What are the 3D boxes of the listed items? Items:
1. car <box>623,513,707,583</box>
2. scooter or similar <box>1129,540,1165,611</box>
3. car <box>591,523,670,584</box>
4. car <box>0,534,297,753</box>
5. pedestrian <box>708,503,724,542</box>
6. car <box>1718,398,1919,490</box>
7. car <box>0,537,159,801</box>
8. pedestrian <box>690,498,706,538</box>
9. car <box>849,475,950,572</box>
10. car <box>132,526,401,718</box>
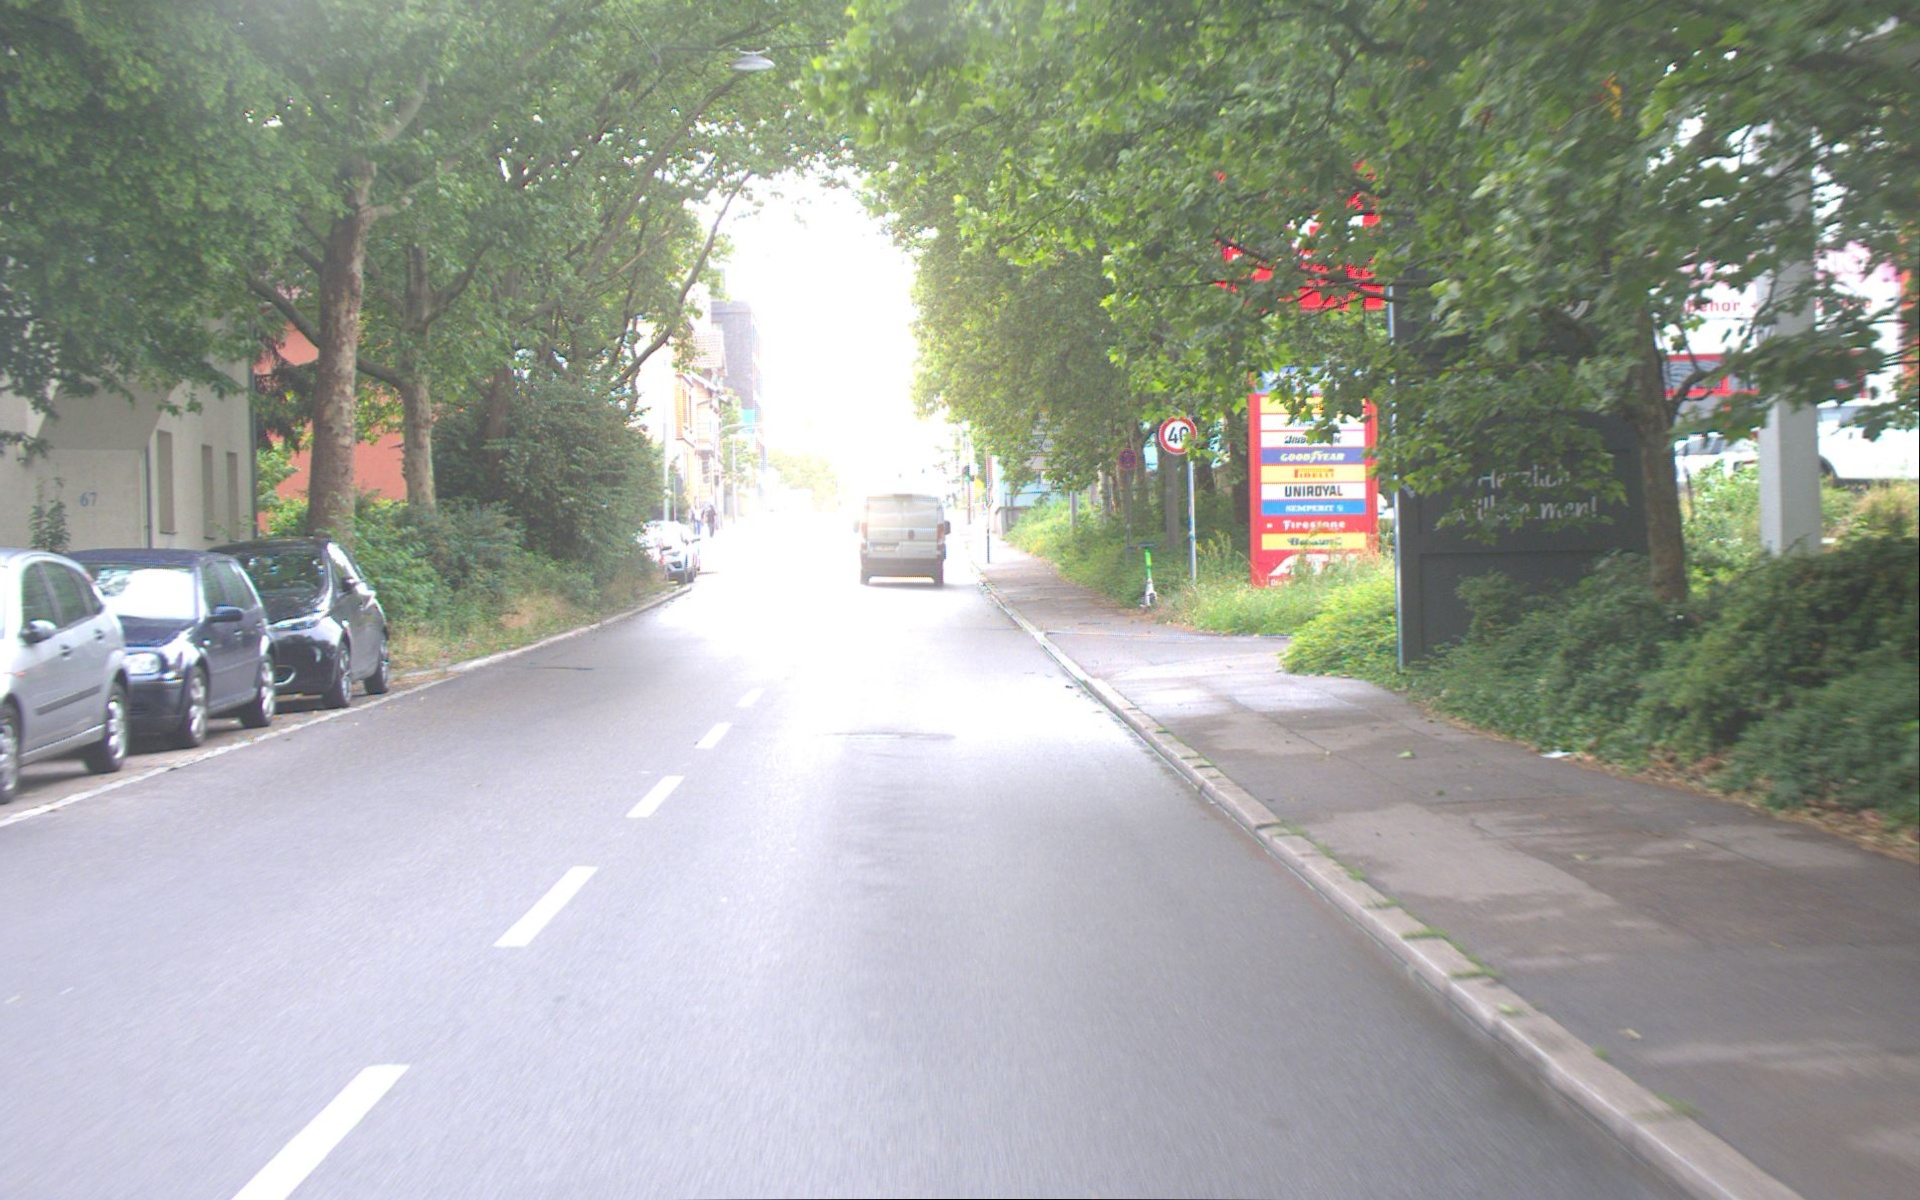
[{"bbox_3d":[-7.377,-1.326,86.293,1.691,1.536,4.118,-3,2,0],"label":"car"},{"bbox_3d":[3.095,-0.394,56.852,0.425,1.138,1.529,1,-1,-3],"label":"scooter or similar"},{"bbox_3d":[-7.721,-1.111,80.807,1.638,1.369,3.760,0,1,-3],"label":"car"},{"bbox_3d":[-6.291,0.277,26.286,1.672,1.503,3.874,-2,1,0],"label":"car"},{"bbox_3d":[-12.529,-3.969,176.443,0.671,2.007,0.941,0,1,4],"label":"pedestrian"},{"bbox_3d":[14.112,-2.425,53.725,4.100,1.371,1.903,0,1,0],"label":"car"},{"bbox_3d":[-6.290,0.362,21.229,1.672,1.503,4.123,0,1,1],"label":"car"},{"bbox_3d":[-13.444,-4.206,176.359,0.671,2.007,0.941,0,1,3],"label":"pedestrian"},{"bbox_3d":[-1.433,-1.833,83.548,2.336,2.223,4.000,-2,0,0],"label":"car"},{"bbox_3d":[-6.317,0.152,31.714,1.647,1.532,4.019,-5,1,-1],"label":"car"}]
